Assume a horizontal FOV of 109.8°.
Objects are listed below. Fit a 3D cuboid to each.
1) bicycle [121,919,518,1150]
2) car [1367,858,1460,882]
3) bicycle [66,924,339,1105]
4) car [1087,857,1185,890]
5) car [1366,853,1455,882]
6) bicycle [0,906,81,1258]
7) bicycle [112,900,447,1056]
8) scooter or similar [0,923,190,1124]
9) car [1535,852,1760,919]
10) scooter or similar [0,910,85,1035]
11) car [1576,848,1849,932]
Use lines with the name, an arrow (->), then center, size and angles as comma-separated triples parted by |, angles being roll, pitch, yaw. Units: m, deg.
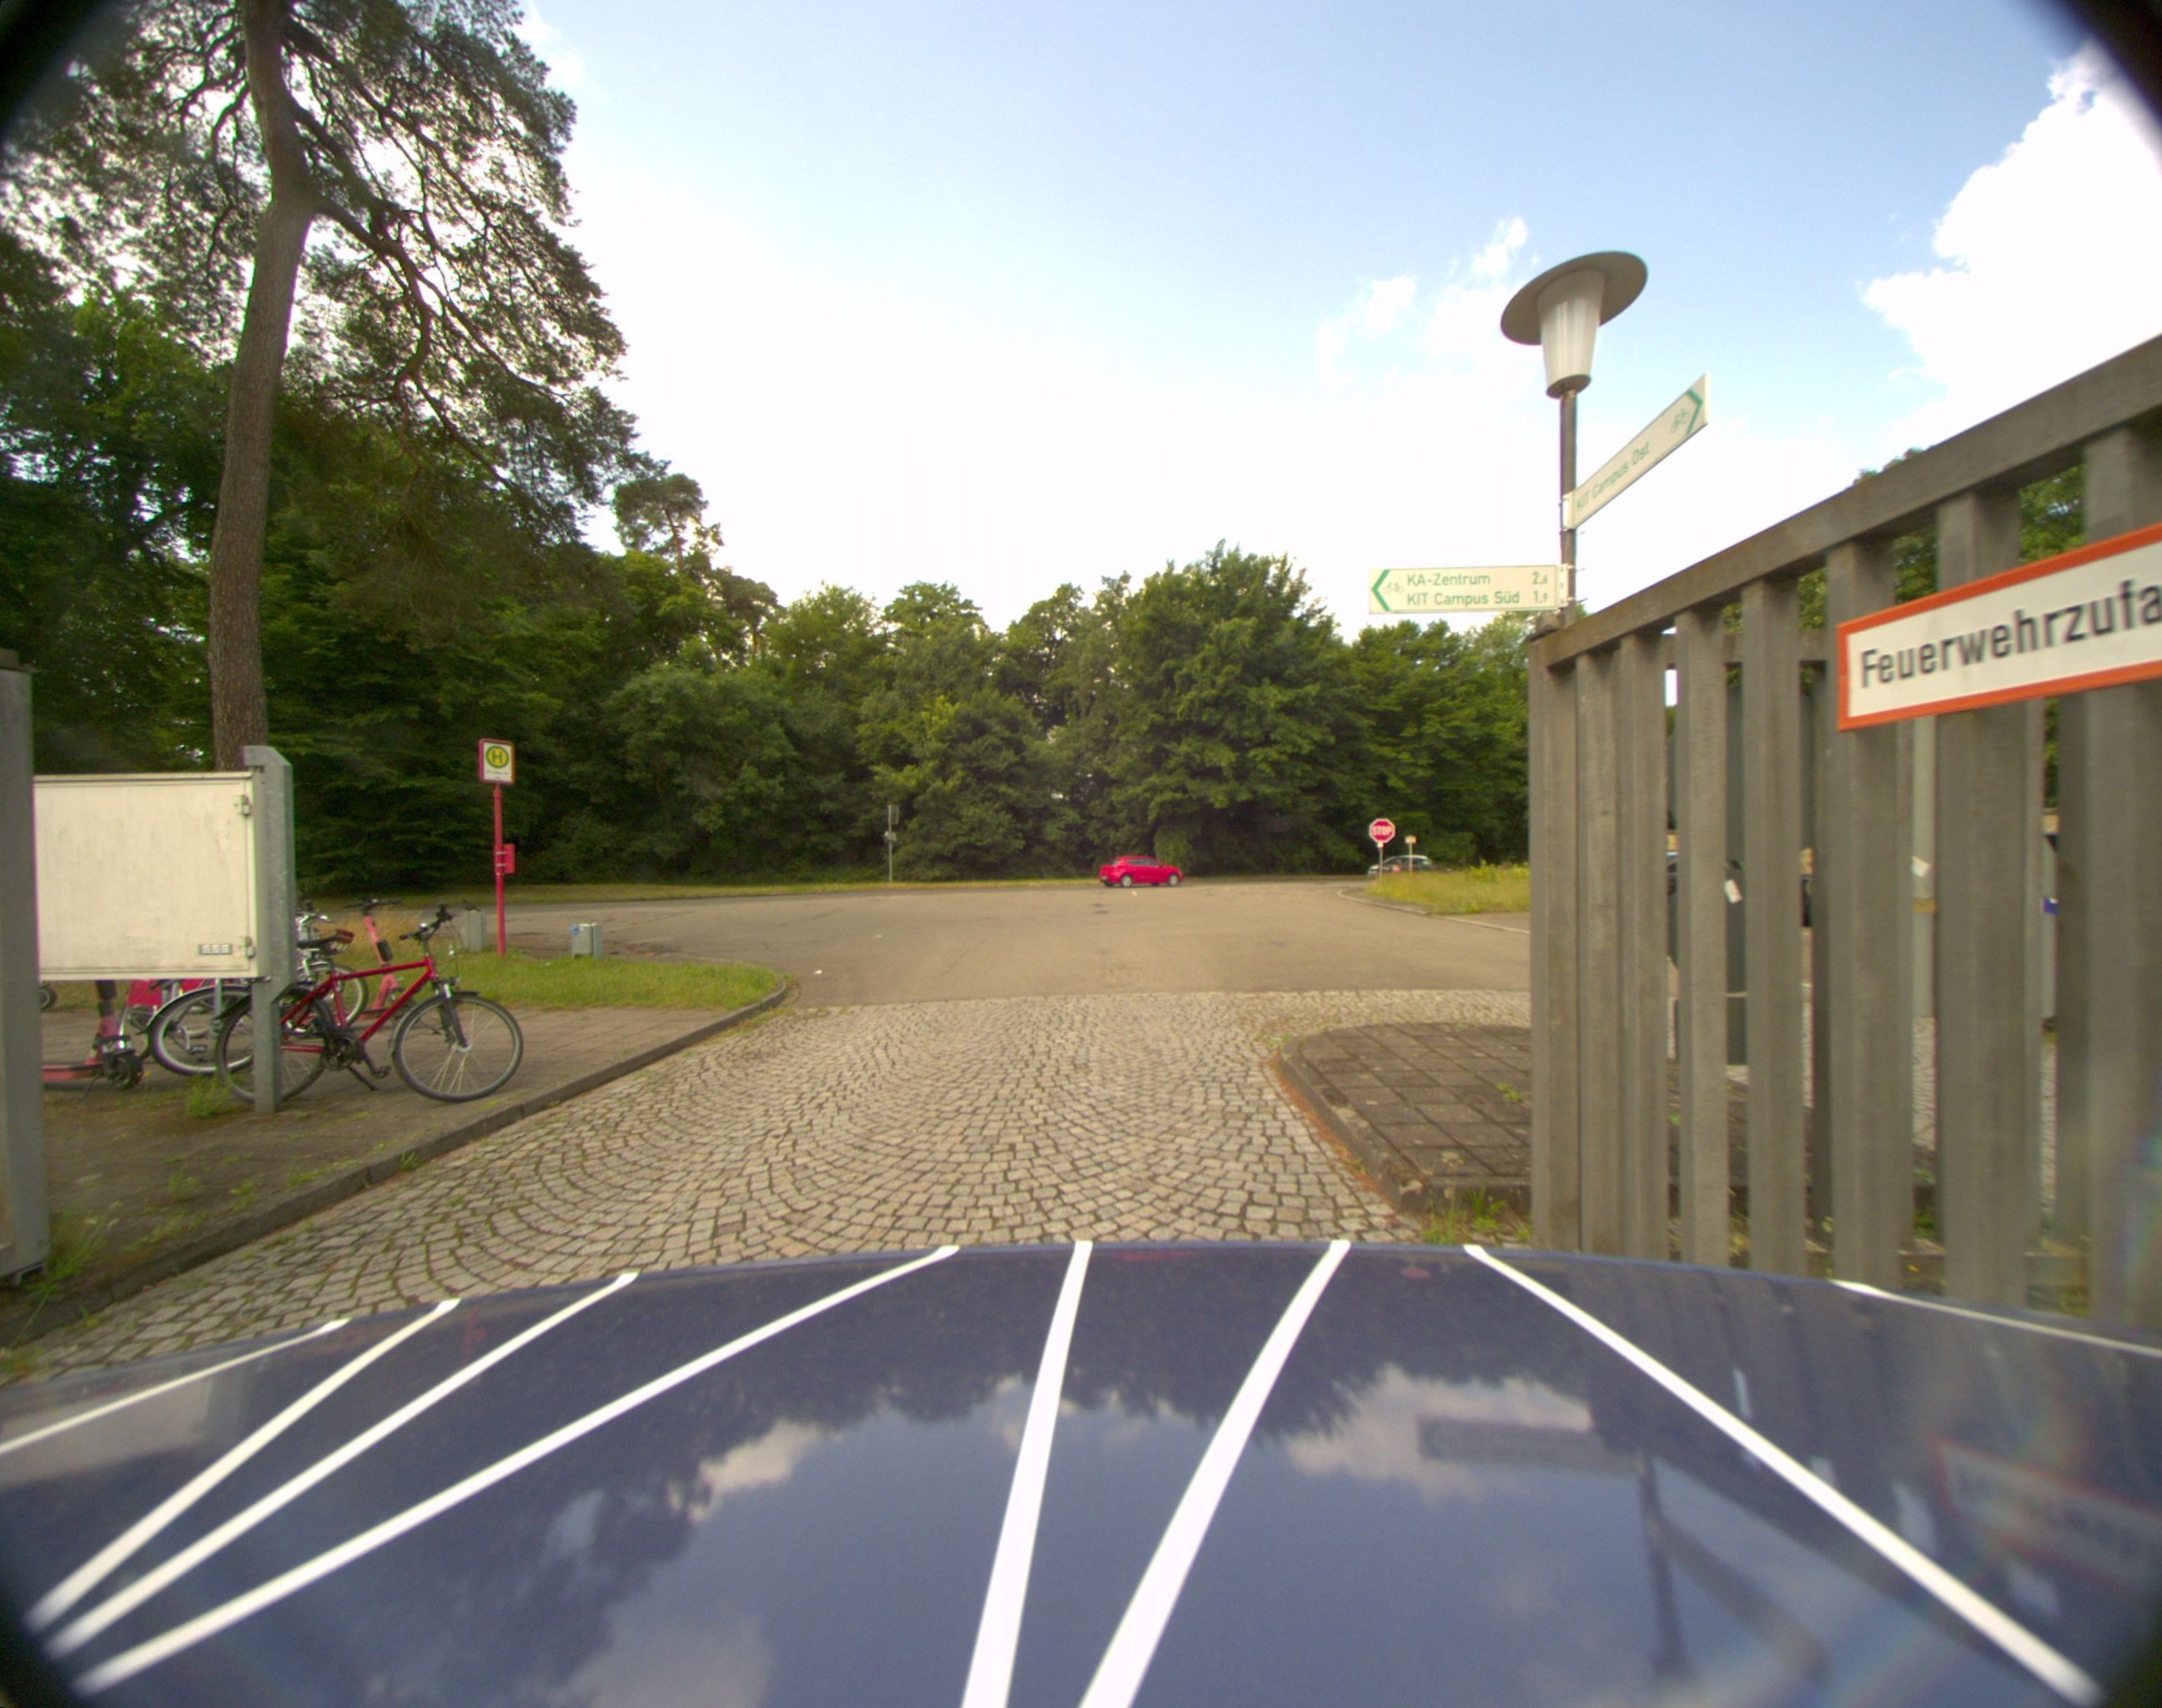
bicycle -> -4.654, 1.071, 4.743 | 1.739, 1.270, 0.672 | 0, 1, -2
car -> 20.580, 0.972, 46.988 | 5.418, 1.370, 1.996 | -1, 0, -21
bicycle -> -6.517, 1.136, 5.658 | 1.608, 1.155, 0.623 | 0, -1, 12
car -> 2.606, 0.876, 35.929 | 4.210, 1.455, 1.995 | -1, 0, -29
car -> 18.489, 0.705, 42.671 | 4.533, 1.455, 1.963 | -1, 1, -21
bicycle -> -5.345, 0.938, 3.144 | 1.904, 1.409, 0.516 | 0, 2, 7
bicycle -> -7.039, 1.067, 6.752 | 2.173, 1.233, 0.635 | -1, 1, -3
scooter or similar -> -6.812, 1.109, 5.135 | 1.282, 1.238, 0.386 | 0, 1, 8
car -> 13.675, 0.732, 18.553 | 3.996, 1.433, 1.880 | -2, 0, 4
scooter or similar -> -11.240, 1.216, 7.898 | 1.090, 1.221, 0.438 | 1, 2, -4
car -> 12.993, 0.714, 15.857 | 3.996, 1.537, 1.900 | -2, 0, 4
